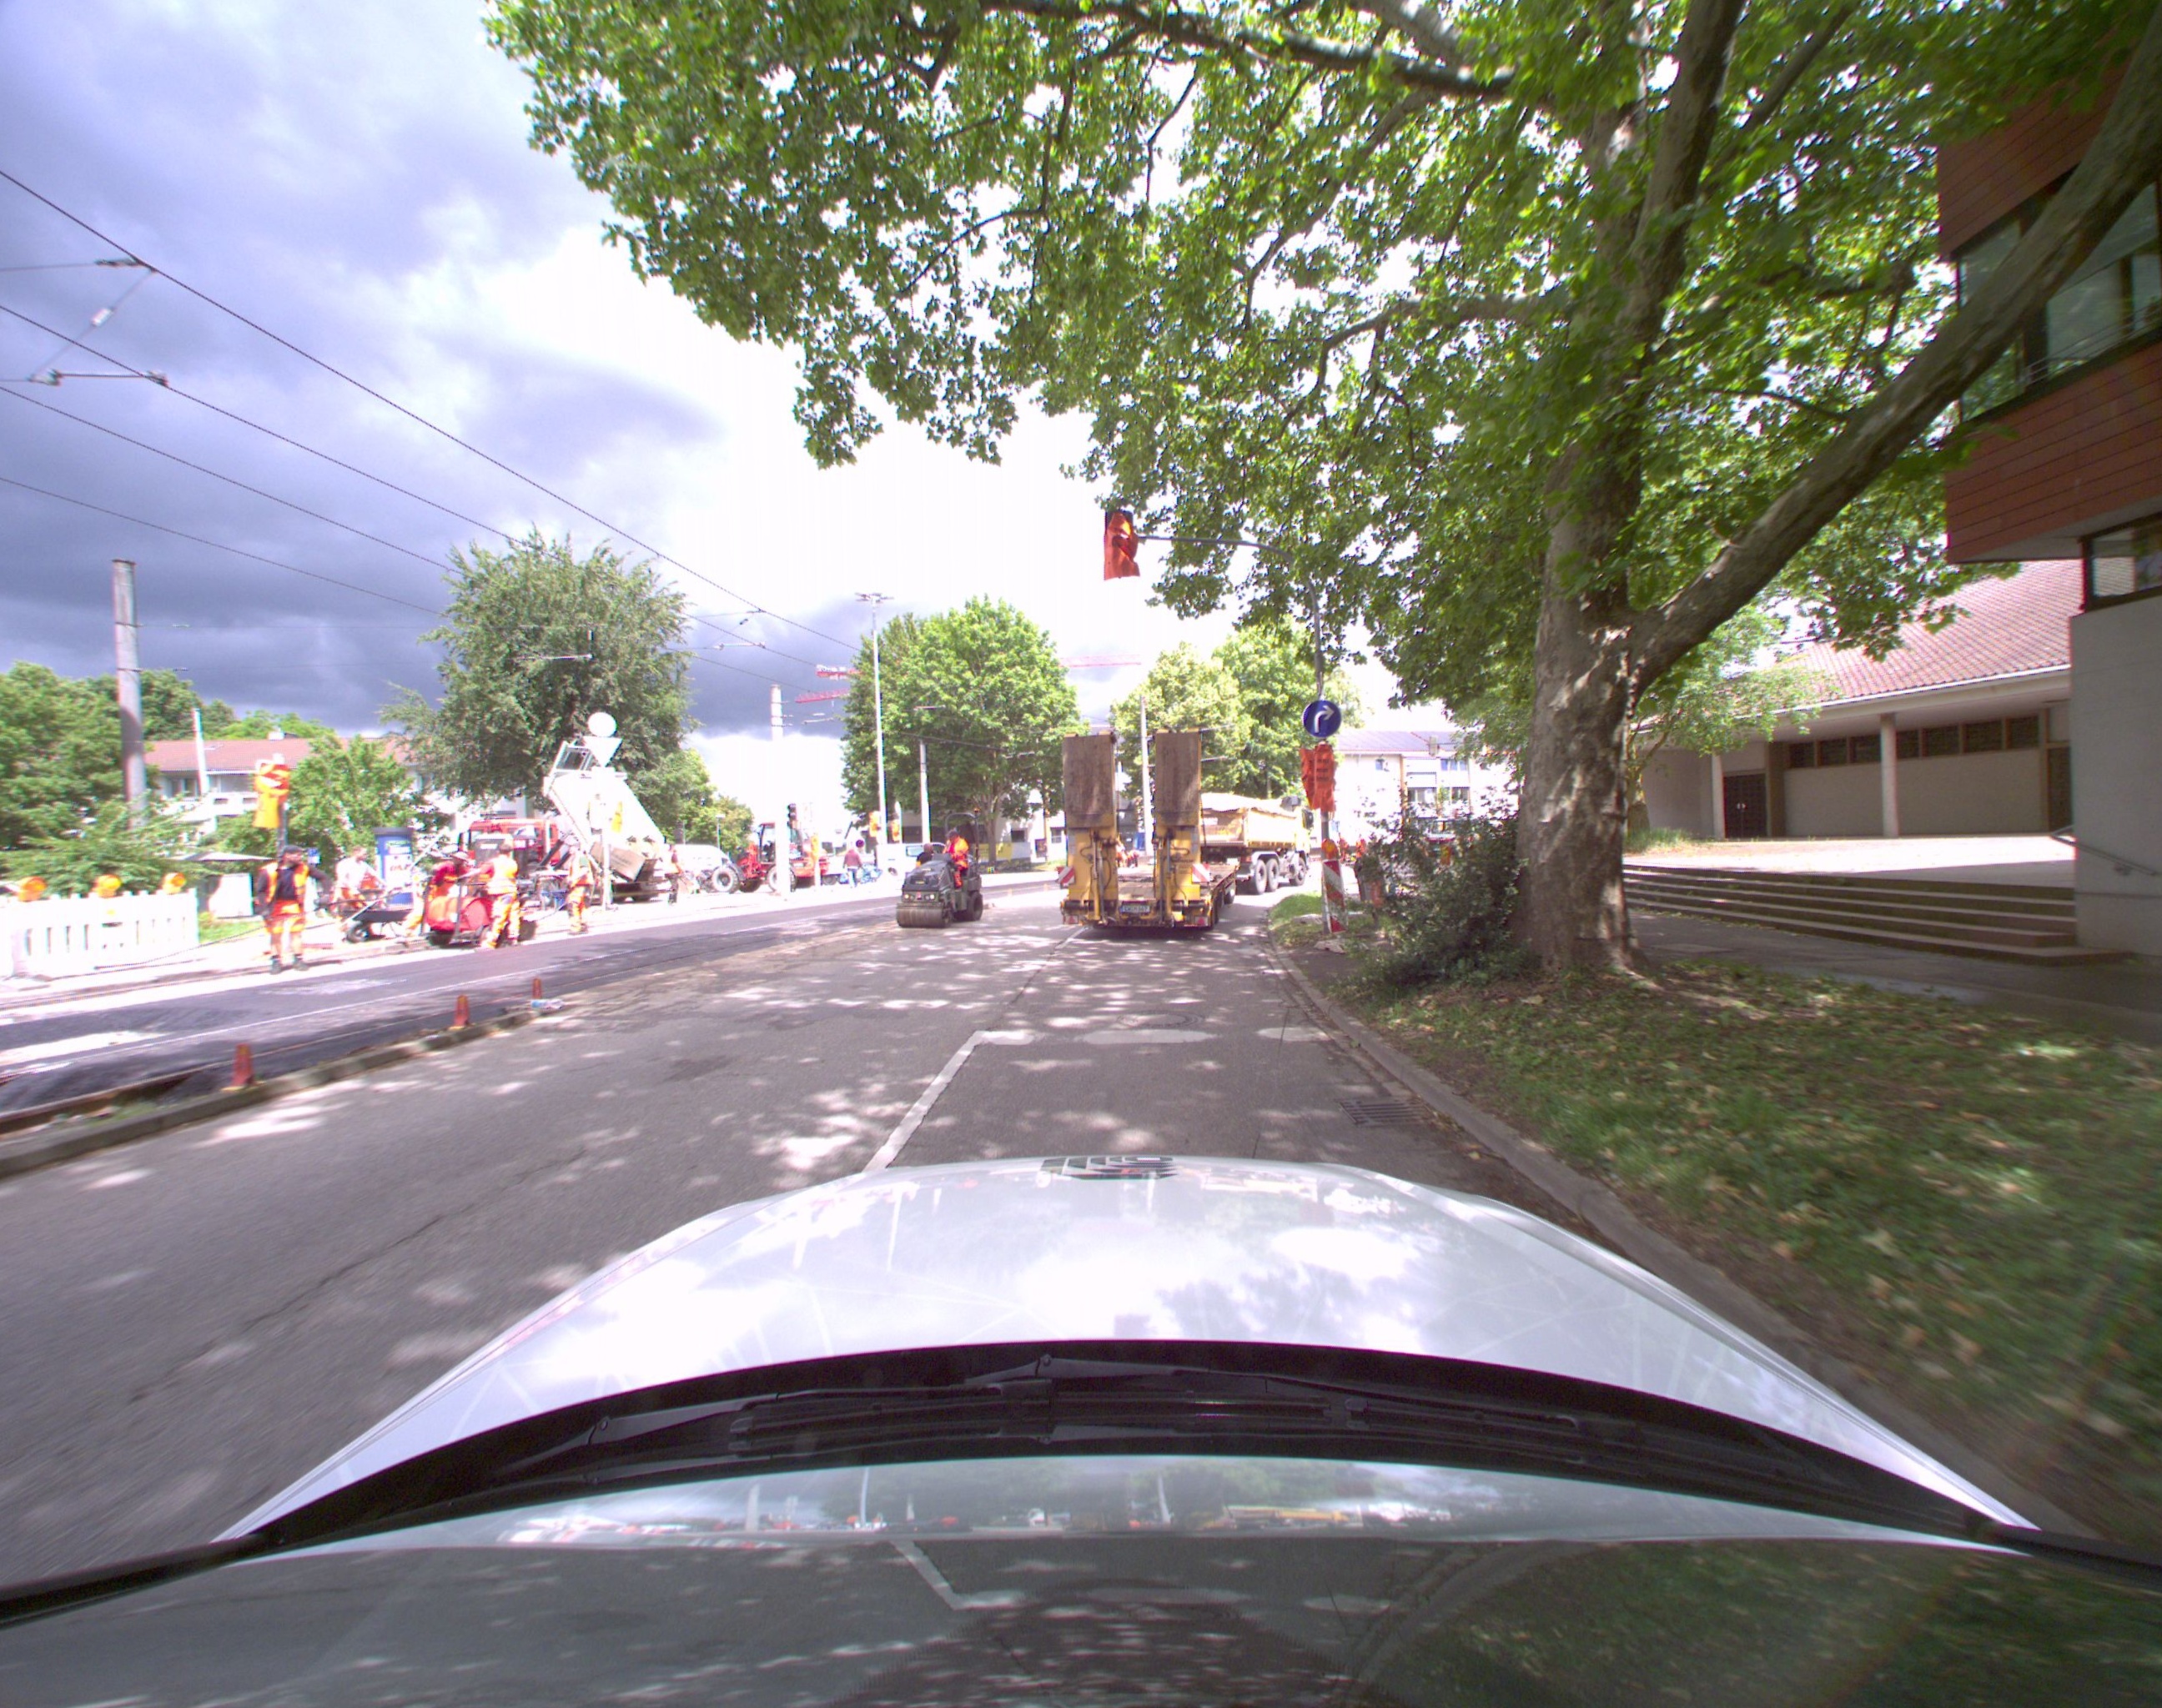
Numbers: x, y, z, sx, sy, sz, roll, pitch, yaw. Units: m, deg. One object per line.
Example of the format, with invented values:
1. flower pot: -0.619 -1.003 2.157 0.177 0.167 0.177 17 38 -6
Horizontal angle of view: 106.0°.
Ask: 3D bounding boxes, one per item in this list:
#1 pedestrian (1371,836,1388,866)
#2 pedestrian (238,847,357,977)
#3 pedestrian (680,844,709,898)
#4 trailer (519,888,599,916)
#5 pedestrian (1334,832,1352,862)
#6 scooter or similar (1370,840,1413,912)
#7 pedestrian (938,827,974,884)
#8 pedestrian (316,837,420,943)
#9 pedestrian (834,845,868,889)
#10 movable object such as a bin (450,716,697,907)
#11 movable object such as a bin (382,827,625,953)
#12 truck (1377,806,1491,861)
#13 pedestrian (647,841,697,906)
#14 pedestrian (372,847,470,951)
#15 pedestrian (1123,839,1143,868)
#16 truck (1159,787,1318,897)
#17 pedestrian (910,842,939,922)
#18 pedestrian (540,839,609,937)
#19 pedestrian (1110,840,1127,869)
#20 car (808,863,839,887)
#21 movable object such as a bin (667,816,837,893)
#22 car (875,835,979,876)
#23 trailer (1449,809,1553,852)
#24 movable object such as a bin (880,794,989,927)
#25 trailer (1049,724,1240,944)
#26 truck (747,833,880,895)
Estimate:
1. pedestrian: 15.691 -0.155 42.743 0.755 1.551 0.906 -1 2 24
2. pedestrian: -10.948 0.780 11.403 0.744 1.716 0.924 -1 1 22
3. pedestrian: -13.194 0.568 27.804 0.577 1.788 0.613 -2 2 5
4. trailer: -14.081 1.286 21.999 0.787 0.616 1.607 -3 0 26
5. pedestrian: 14.819 -0.400 46.017 0.698 1.668 0.833 -1 -1 41
6. scooter or similar: 5.607 0.373 14.746 0.560 1.232 1.200 -3 0 15
7. pedestrian: -2.714 0.030 17.711 0.545 1.216 0.619 -2 0 12
8. pedestrian: -12.804 0.626 14.641 1.084 1.824 0.877 -2 0 15
9. pedestrian: -8.998 0.493 31.896 0.920 1.659 0.877 -2 1 8
10. movable object such as a bin: -17.005 -1.125 27.068 8.920 5.484 2.839 -3 0 30
11. movable object such as a bin: -10.376 0.585 14.898 1.981 2.013 2.977 -2 0 11
12. truck: 20.405 -1.199 47.001 6.415 2.724 2.645 -5 2 -30
13. pedestrian: -11.816 0.557 23.550 0.787 1.832 0.977 -1 0 21
14. pedestrian: -11.325 0.750 14.005 0.851 1.716 0.922 -2 1 12
15. pedestrian: 2.861 -0.021 44.661 0.903 1.533 0.840 -2 0 -5
16. truck: 5.572 -0.441 27.505 2.889 3.167 7.729 -1 1 30
17. pedestrian: -3.323 0.581 17.357 0.467 1.681 0.559 0 0 5
18. pedestrian: -9.859 0.644 15.878 0.779 1.839 0.768 -2 0 -1
19. pedestrian: 2.035 0.033 44.384 0.758 1.541 0.797 -2 0 -5
20. car: -17.653 1.414 56.004 1.775 1.459 3.856 -3 0 -15
21. movable object such as a bin: -12.382 0.019 30.806 5.539 2.668 2.120 -1 0 7
22. car: -8.218 0.088 43.471 5.240 1.887 1.991 -3 -1 -14
23. trailer: 25.905 -1.446 50.183 6.267 2.213 2.645 -5 2 -30
24. movable object such as a bin: -3.012 0.113 17.133 1.307 2.593 2.372 -1 1 14
25. trailer: 2.065 -0.437 18.794 2.803 3.523 11.092 0 1 13
26. truck: -13.122 0.466 40.155 5.537 2.568 2.424 -4 0 6
